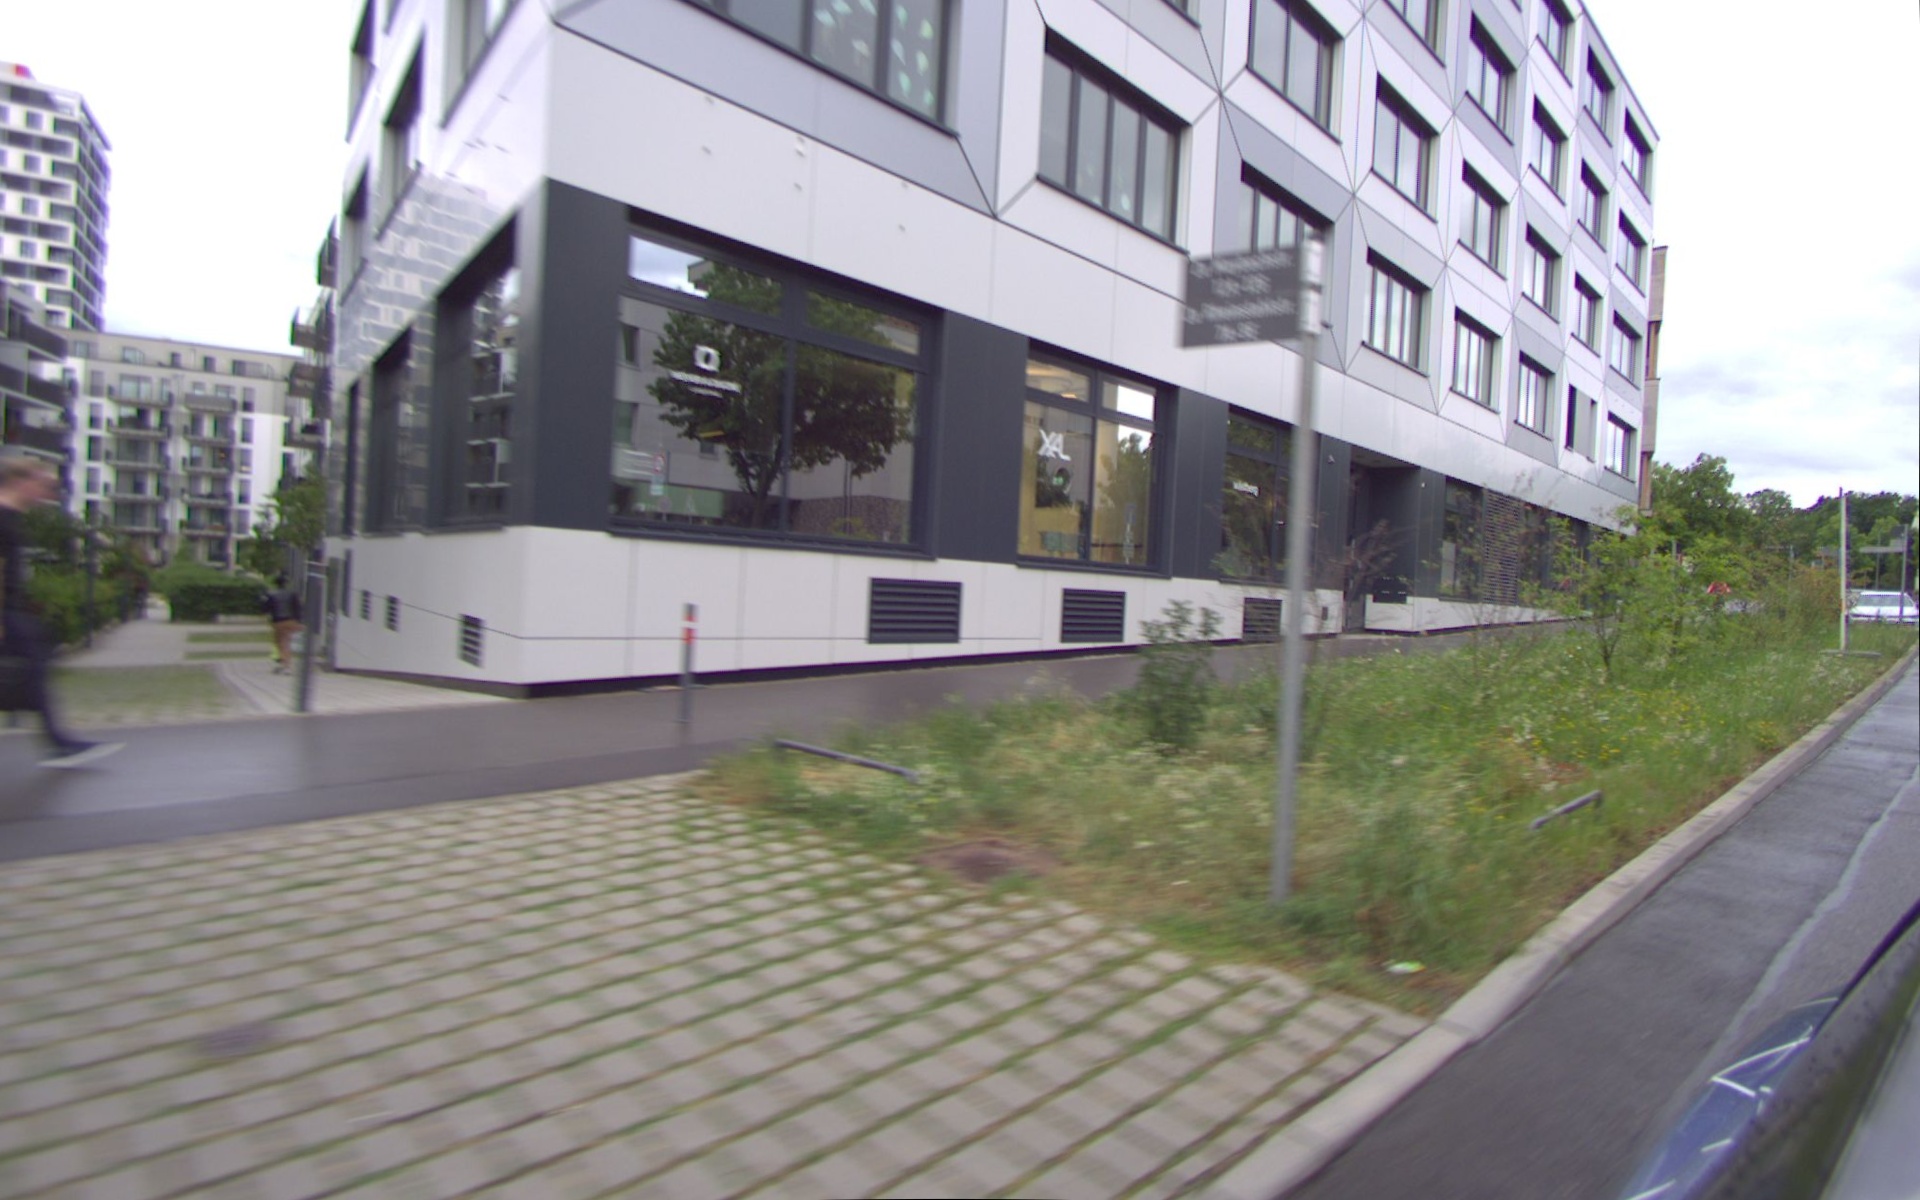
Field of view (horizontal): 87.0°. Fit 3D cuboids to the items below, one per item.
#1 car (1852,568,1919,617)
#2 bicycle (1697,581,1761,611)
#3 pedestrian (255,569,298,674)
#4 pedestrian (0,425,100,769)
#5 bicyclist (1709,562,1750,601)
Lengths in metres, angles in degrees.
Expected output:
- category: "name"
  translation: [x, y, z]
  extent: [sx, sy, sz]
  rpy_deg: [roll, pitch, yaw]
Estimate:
- category: "car"
  translation: [30.725, -0.291, 33.292]
  extent: [2.038, 1.482, 4.435]
  rpy_deg: [2, 2, 42]
- category: "bicycle"
  translation: [30.828, -0.171, 40.610]
  extent: [0.614, 1.033, 2.484]
  rpy_deg: [1, 3, 0]
- category: "pedestrian"
  translation: [-12.801, 0.385, 18.965]
  extent: [0.641, 1.927, 0.571]
  rpy_deg: [0, 1, -33]
- category: "pedestrian"
  translation: [-5.334, -0.035, 5.652]
  extent: [0.764, 1.818, 0.824]
  rpy_deg: [1, 2, -41]
- category: "bicyclist"
  translation: [30.857, -0.749, 40.591]
  extent: [0.824, 1.521, 1.076]
  rpy_deg: [0, 1, 1]
